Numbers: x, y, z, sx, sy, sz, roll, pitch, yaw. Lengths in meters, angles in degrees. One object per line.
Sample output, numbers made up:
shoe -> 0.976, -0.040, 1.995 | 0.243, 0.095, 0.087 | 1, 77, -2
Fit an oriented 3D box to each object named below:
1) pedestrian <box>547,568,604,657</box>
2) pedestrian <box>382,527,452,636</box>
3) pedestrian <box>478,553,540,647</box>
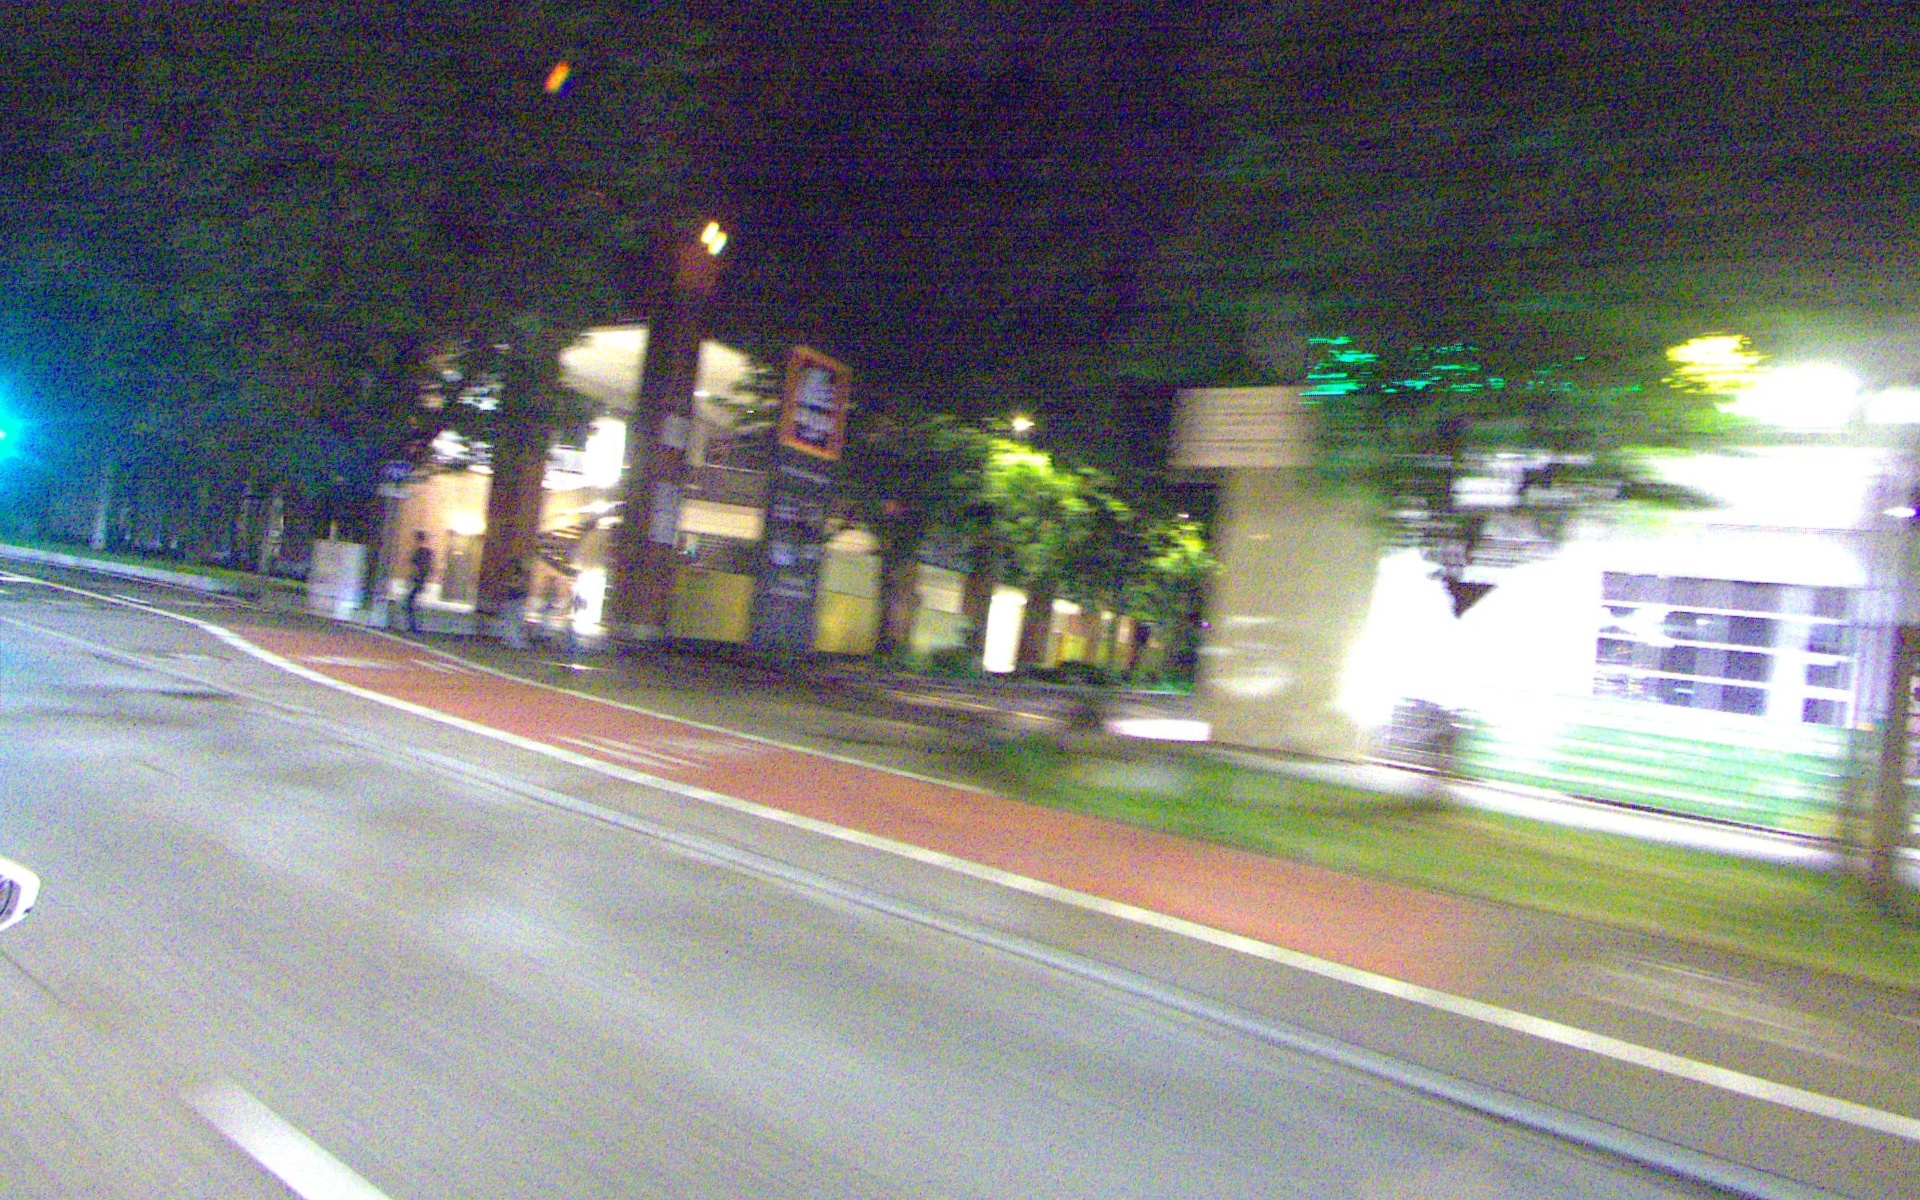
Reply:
pedestrian -> -7.168, 0.239, 18.774 | 0.623, 1.552, 0.573 | 7, 0, 32
pedestrian -> -9.700, -0.325, 17.972 | 0.746, 1.833, 0.622 | 7, 0, 32
pedestrian -> -8.481, 0.000, 18.928 | 0.668, 1.658, 0.622 | 7, 0, 32
